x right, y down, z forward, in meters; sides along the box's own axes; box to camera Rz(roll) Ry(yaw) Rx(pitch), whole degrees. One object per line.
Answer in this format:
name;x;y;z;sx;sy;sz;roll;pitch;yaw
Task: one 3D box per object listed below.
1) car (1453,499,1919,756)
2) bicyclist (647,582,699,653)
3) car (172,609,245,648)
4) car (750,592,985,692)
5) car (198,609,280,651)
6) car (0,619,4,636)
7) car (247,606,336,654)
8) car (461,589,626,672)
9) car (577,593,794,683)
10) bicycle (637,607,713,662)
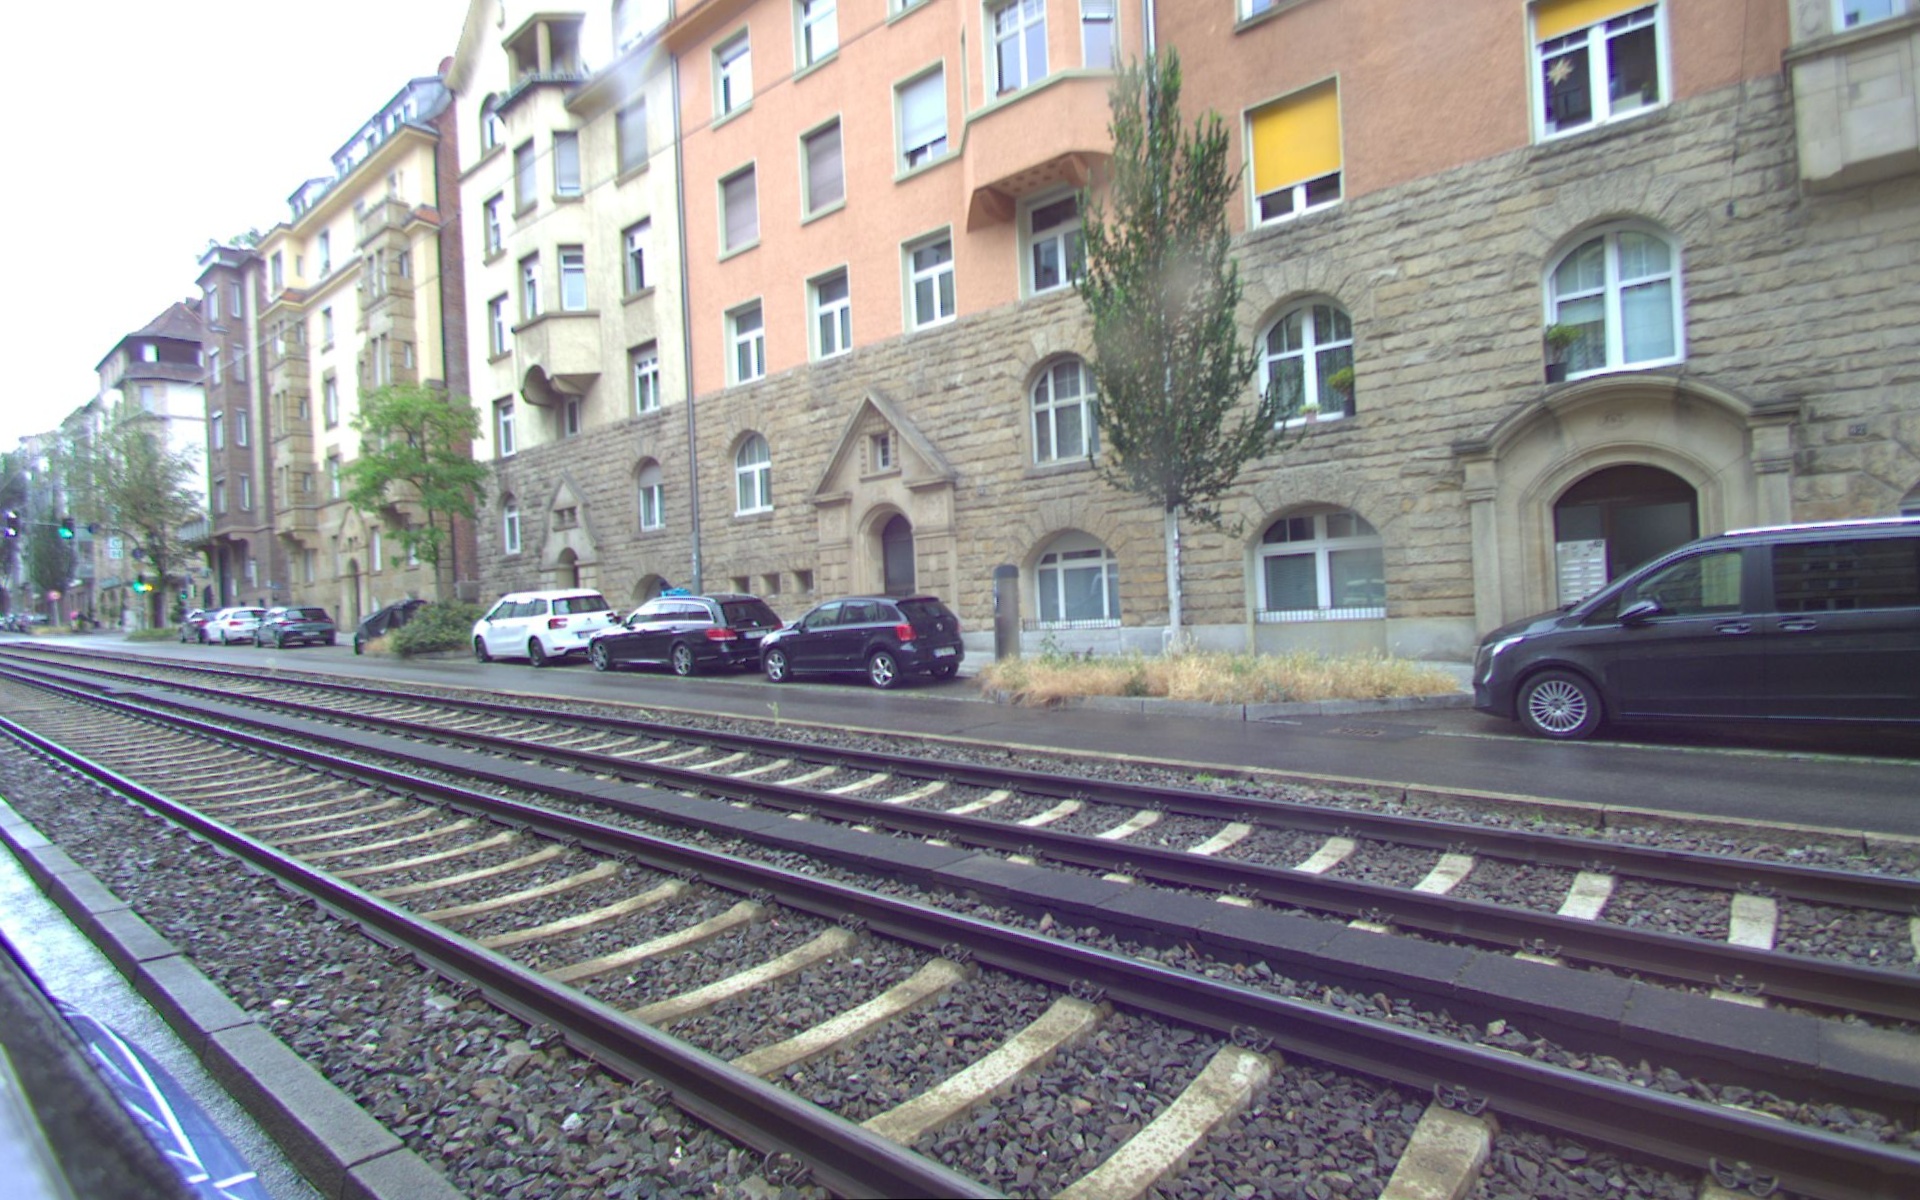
car;7.216;0.206;8.945;4.829;1.945;1.886;-1;0;40
bicyclist;-6.639;0.389;23.412;0.774;1.613;0.883;-1;0;41
car;-32.065;1.183;43.148;3.712;1.438;1.737;-1;3;42
car;-1.597;0.637;16.850;3.690;1.414;1.739;-1;2;38
car;-28.372;1.147;39.803;4.043;1.462;1.737;-1;3;42
car;-81.609;2.301;84.810;4.255;1.356;1.771;-1;0;41
car;-23.737;1.024;35.904;3.712;1.493;1.695;-1;3;42
car;-9.753;0.660;23.568;4.257;1.684;1.738;-1;3;40
car;-5.471;0.683;19.860;4.593;1.502;1.738;-1;2;39
bicycle;-6.594;0.777;23.385;2.052;1.231;0.685;-1;0;41
